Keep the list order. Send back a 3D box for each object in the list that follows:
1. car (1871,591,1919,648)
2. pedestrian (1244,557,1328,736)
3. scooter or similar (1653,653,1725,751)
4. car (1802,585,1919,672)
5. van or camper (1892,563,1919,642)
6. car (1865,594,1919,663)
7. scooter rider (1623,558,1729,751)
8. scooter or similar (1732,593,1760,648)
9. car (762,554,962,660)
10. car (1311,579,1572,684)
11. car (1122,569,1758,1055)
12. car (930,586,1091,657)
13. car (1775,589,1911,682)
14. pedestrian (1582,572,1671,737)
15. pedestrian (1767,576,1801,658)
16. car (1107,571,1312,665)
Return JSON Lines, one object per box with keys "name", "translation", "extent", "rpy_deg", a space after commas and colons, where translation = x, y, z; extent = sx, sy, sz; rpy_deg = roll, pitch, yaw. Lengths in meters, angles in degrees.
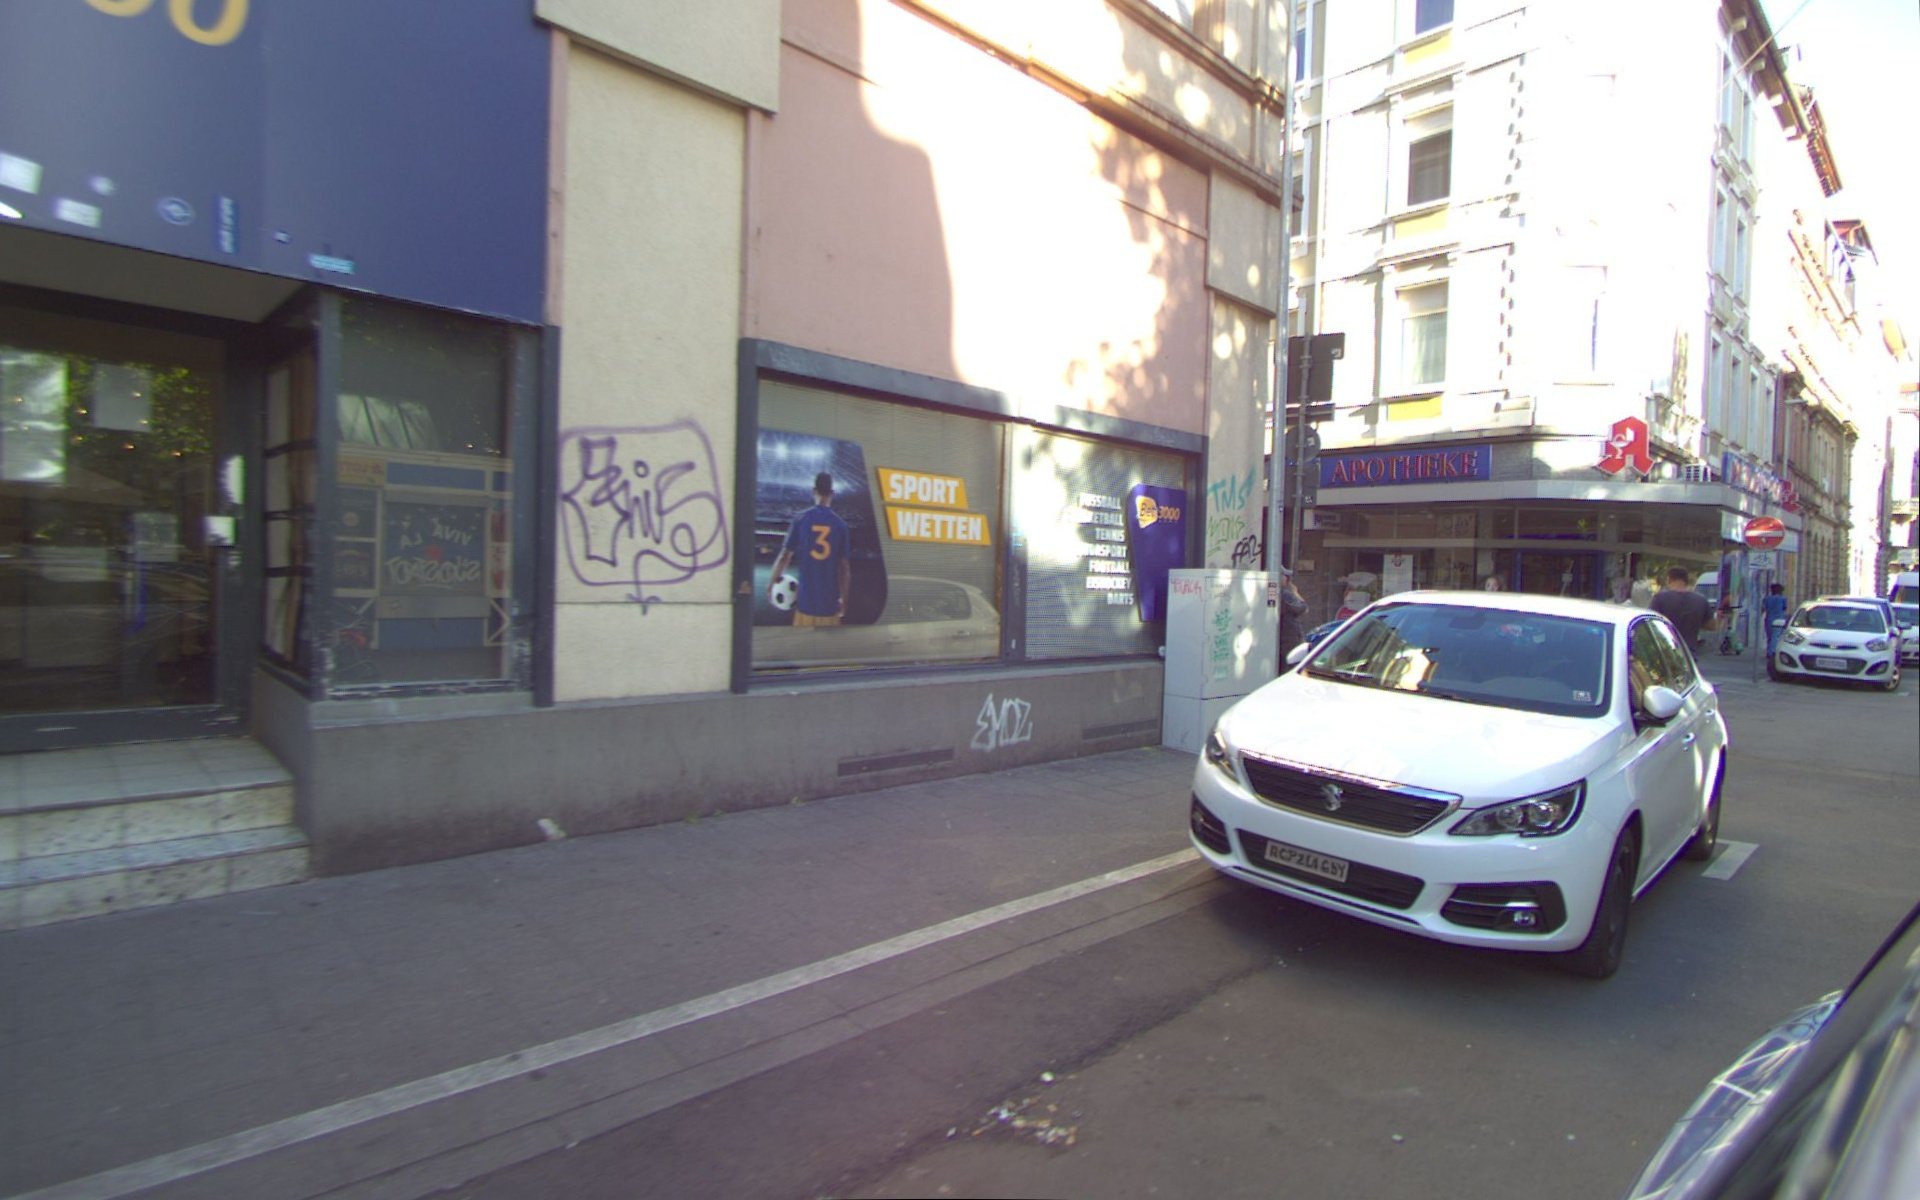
{"name": "car", "translation": [30.357, 0.569, 31.958], "extent": [4.487, 1.667, 1.996], "rpy_deg": [-1, 1, -43]}
{"name": "pedestrian", "translation": [3.148, 0.437, 9.815], "extent": [0.455, 1.671, 0.602], "rpy_deg": [3, 0, -12]}
{"name": "scooter or similar", "translation": [7.076, 0.969, 9.816], "extent": [0.910, 0.839, 0.394], "rpy_deg": [-1, 1, -43]}
{"name": "car", "translation": [19.402, 0.532, 21.692], "extent": [3.998, 1.671, 1.701], "rpy_deg": [-1, 1, -45]}
{"name": "van or camper", "translation": [34.647, 0.046, 35.813], "extent": [5.879, 2.665, 1.996], "rpy_deg": [-1, 1, -43]}
{"name": "car", "translation": [23.618, 0.647, 24.976], "extent": [4.130, 1.545, 1.556], "rpy_deg": [-1, 1, -43]}
{"name": "scooter rider", "translation": [6.899, 0.506, 9.775], "extent": [0.554, 1.800, 0.612], "rpy_deg": [0, 1, -3]}
{"name": "scooter or similar", "translation": [19.010, 0.485, 24.475], "extent": [1.019, 1.296, 0.395], "rpy_deg": [-1, 1, -44]}
{"name": "car", "translation": [-1.997, 0.092, 19.839], "extent": [1.836, 1.864, 3.931], "rpy_deg": [3, 0, -43]}
{"name": "car", "translation": [8.049, 0.443, 17.122], "extent": [1.759, 1.504, 3.578], "rpy_deg": [-1, 2, -43]}
{"name": "car", "translation": [2.762, 0.626, 5.282], "extent": [1.787, 1.535, 4.071], "rpy_deg": [1, 1, 44]}
{"name": "car", "translation": [1.145, 0.447, 24.568], "extent": [1.533, 1.473, 3.983], "rpy_deg": [-1, 2, -42]}
{"name": "car", "translation": [16.014, 0.557, 18.293], "extent": [1.689, 1.481, 3.583], "rpy_deg": [1, 1, 44]}
{"name": "pedestrian", "translation": [6.884, 0.546, 10.470], "extent": [0.555, 1.659, 0.528], "rpy_deg": [0, 1, 1]}
{"name": "pedestrian", "translation": [19.422, 0.388, 23.851], "extent": [0.521, 1.917, 0.562], "rpy_deg": [0, 1, -44]}
{"name": "car", "translation": [4.912, 0.268, 20.281], "extent": [1.602, 1.650, 3.740], "rpy_deg": [-2, 3, -42]}
